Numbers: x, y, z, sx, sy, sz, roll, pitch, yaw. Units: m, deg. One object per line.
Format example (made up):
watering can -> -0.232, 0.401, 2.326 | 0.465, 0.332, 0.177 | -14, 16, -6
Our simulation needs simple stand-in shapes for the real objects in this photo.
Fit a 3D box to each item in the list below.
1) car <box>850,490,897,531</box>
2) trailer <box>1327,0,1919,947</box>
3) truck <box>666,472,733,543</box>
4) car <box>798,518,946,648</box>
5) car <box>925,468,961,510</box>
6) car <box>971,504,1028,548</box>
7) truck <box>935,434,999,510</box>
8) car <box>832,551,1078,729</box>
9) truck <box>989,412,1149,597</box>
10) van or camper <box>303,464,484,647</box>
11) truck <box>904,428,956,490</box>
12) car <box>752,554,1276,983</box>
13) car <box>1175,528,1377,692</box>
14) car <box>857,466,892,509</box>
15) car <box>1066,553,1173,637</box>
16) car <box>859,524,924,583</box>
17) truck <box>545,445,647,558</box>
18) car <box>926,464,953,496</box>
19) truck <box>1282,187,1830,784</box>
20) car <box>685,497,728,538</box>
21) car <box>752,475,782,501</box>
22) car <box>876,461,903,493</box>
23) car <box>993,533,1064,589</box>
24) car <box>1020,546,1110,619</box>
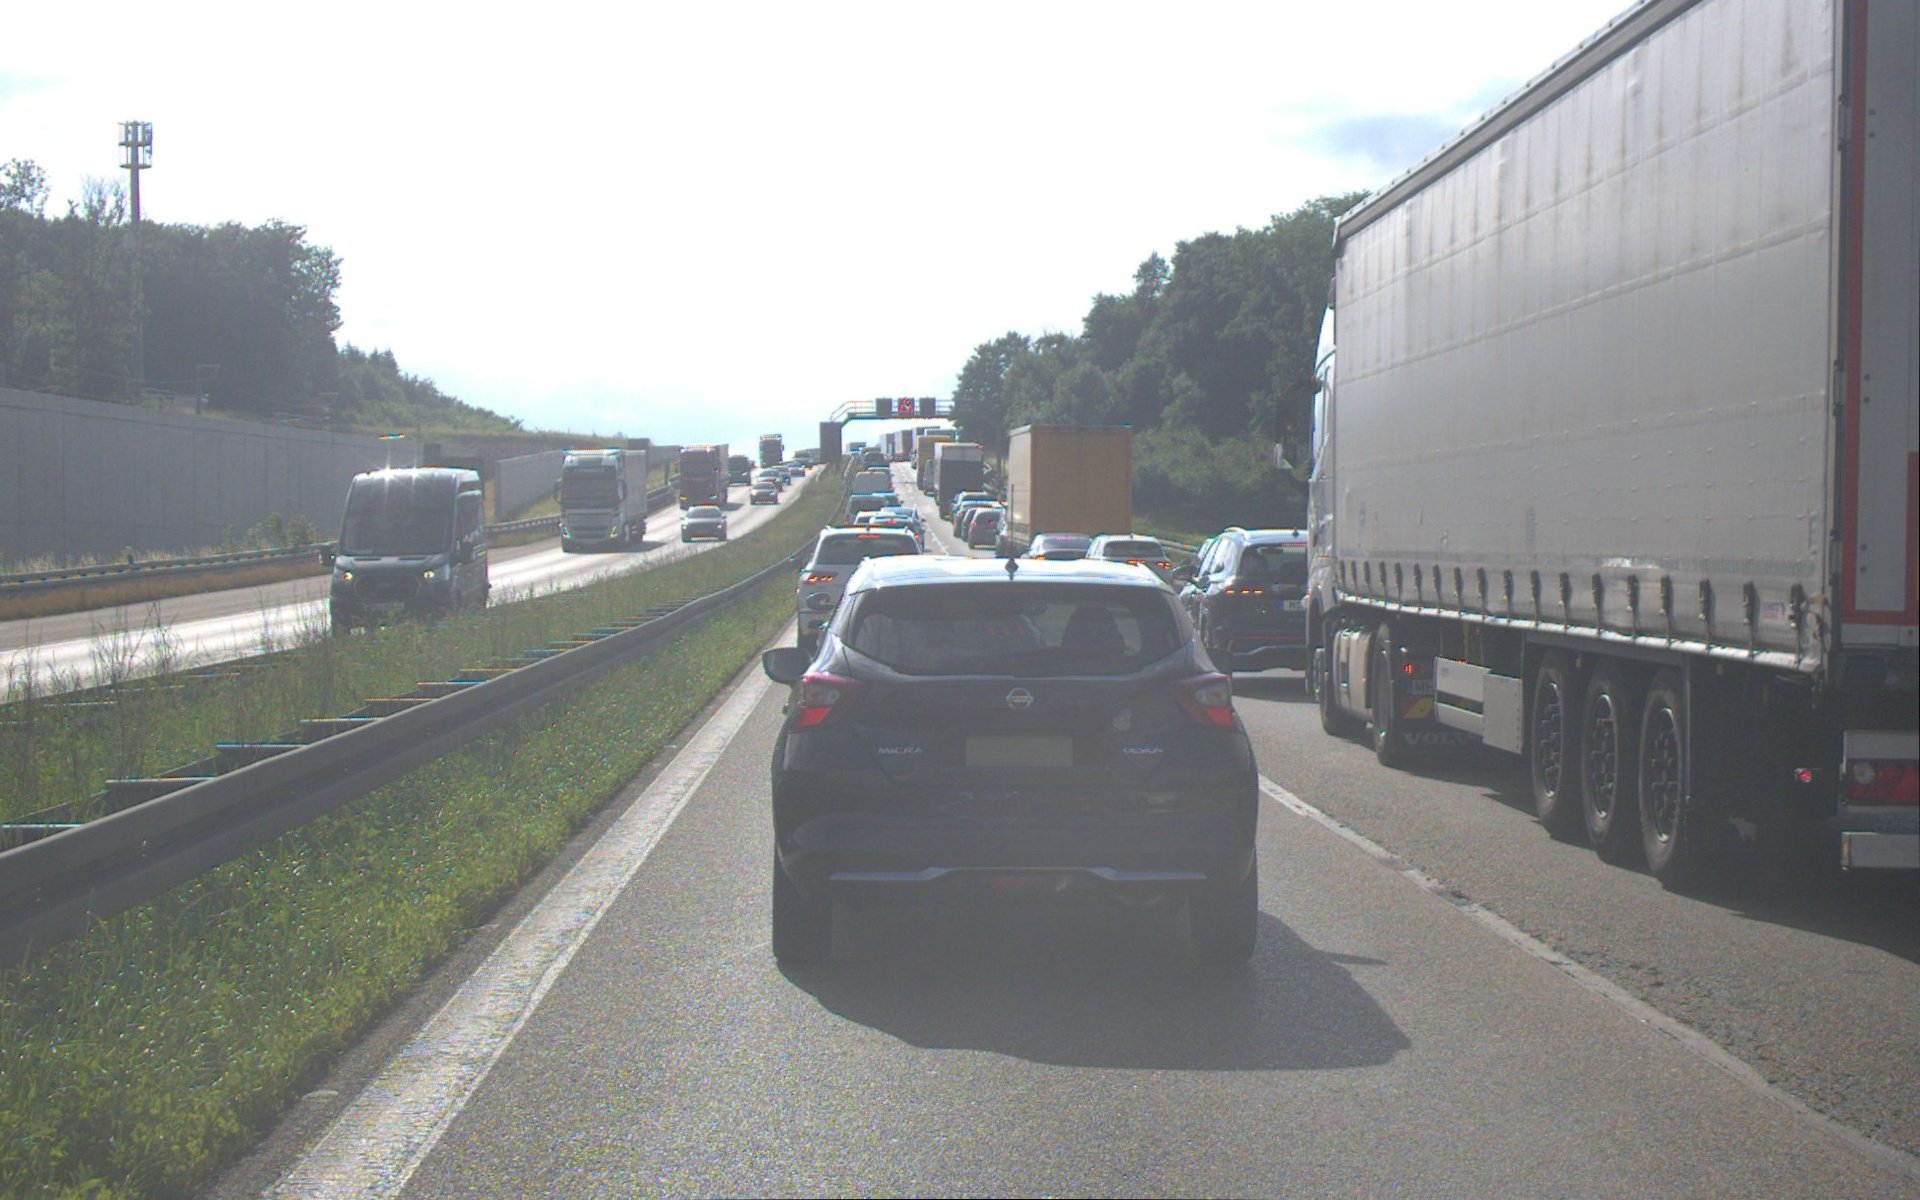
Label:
car -> -3.602, -3.724, 142.009 | 1.873, 1.638, 4.233 | 0, 2, -2
trailer -> 4.357, -0.765, 18.576 | 3.130, 3.997, 13.367 | 1, 0, -1
truck -> -16.920, -6.002, 224.228 | 3.297, 4.539, 12.441 | 0, 1, 1
car -> -1.150, -0.239, 45.596 | 1.873, 1.638, 4.232 | 0, 1, -1
car -> -0.947, -6.212, 191.676 | 1.873, 2.151, 5.212 | 0, 3, -1
car -> 1.521, -2.927, 134.492 | 1.873, 1.638, 4.233 | 0, 2, -4
truck -> 0.385, -8.051, 217.060 | 3.464, 4.561, 12.443 | 1, 2, -3
car -> -0.074, 0.283, 28.384 | 1.873, 1.353, 4.232 | 0, 1, -1
truck -> 2.776, -2.403, 92.025 | 3.296, 4.562, 12.442 | 1, 0, -3
van or camper -> -9.189, -0.696, 56.258 | 2.090, 2.810, 5.896 | 1, 0, -1
truck -> -2.312, -10.721, 262.706 | 3.464, 4.561, 12.443 | 1, 2, -3
car -> 0.147, 0.549, 13.774 | 1.773, 1.446, 4.232 | 0, 1, -1
car -> 3.243, 0.071, 36.003 | 1.697, 1.605, 4.437 | 0, 1, 0
car -> -4.623, -6.120, 186.574 | 1.873, 2.151, 5.212 | 0, 3, -1
car -> 3.171, -0.121, 69.129 | 1.873, 1.638, 4.232 | 0, 0, -1
car -> -2.038, -1.393, 102.496 | 1.873, 1.638, 4.233 | 0, 2, -1
truck -> -15.230, -4.089, 144.832 | 3.296, 4.561, 12.442 | 0, 1, -1
car -> -1.483, -8.593, 246.609 | 1.873, 2.151, 5.212 | 0, 3, -1
truck -> 4.272, -0.770, 25.825 | 3.133, 4.002, 5.164 | 1, 0, -1
car -> -11.184, -3.642, 152.005 | 1.743, 1.700, 4.232 | 1, 0, -3
car -> -12.773, -7.413, 227.865 | 1.744, 1.700, 4.233 | 1, 2, -1
car -> -5.008, -8.710, 242.895 | 1.873, 2.151, 5.212 | 0, 3, -1
car -> 2.039, -1.188, 103.324 | 1.873, 1.638, 4.233 | 0, 1, -2
car -> 2.400, -0.429, 79.756 | 1.873, 1.638, 4.232 | 0, 1, -1
